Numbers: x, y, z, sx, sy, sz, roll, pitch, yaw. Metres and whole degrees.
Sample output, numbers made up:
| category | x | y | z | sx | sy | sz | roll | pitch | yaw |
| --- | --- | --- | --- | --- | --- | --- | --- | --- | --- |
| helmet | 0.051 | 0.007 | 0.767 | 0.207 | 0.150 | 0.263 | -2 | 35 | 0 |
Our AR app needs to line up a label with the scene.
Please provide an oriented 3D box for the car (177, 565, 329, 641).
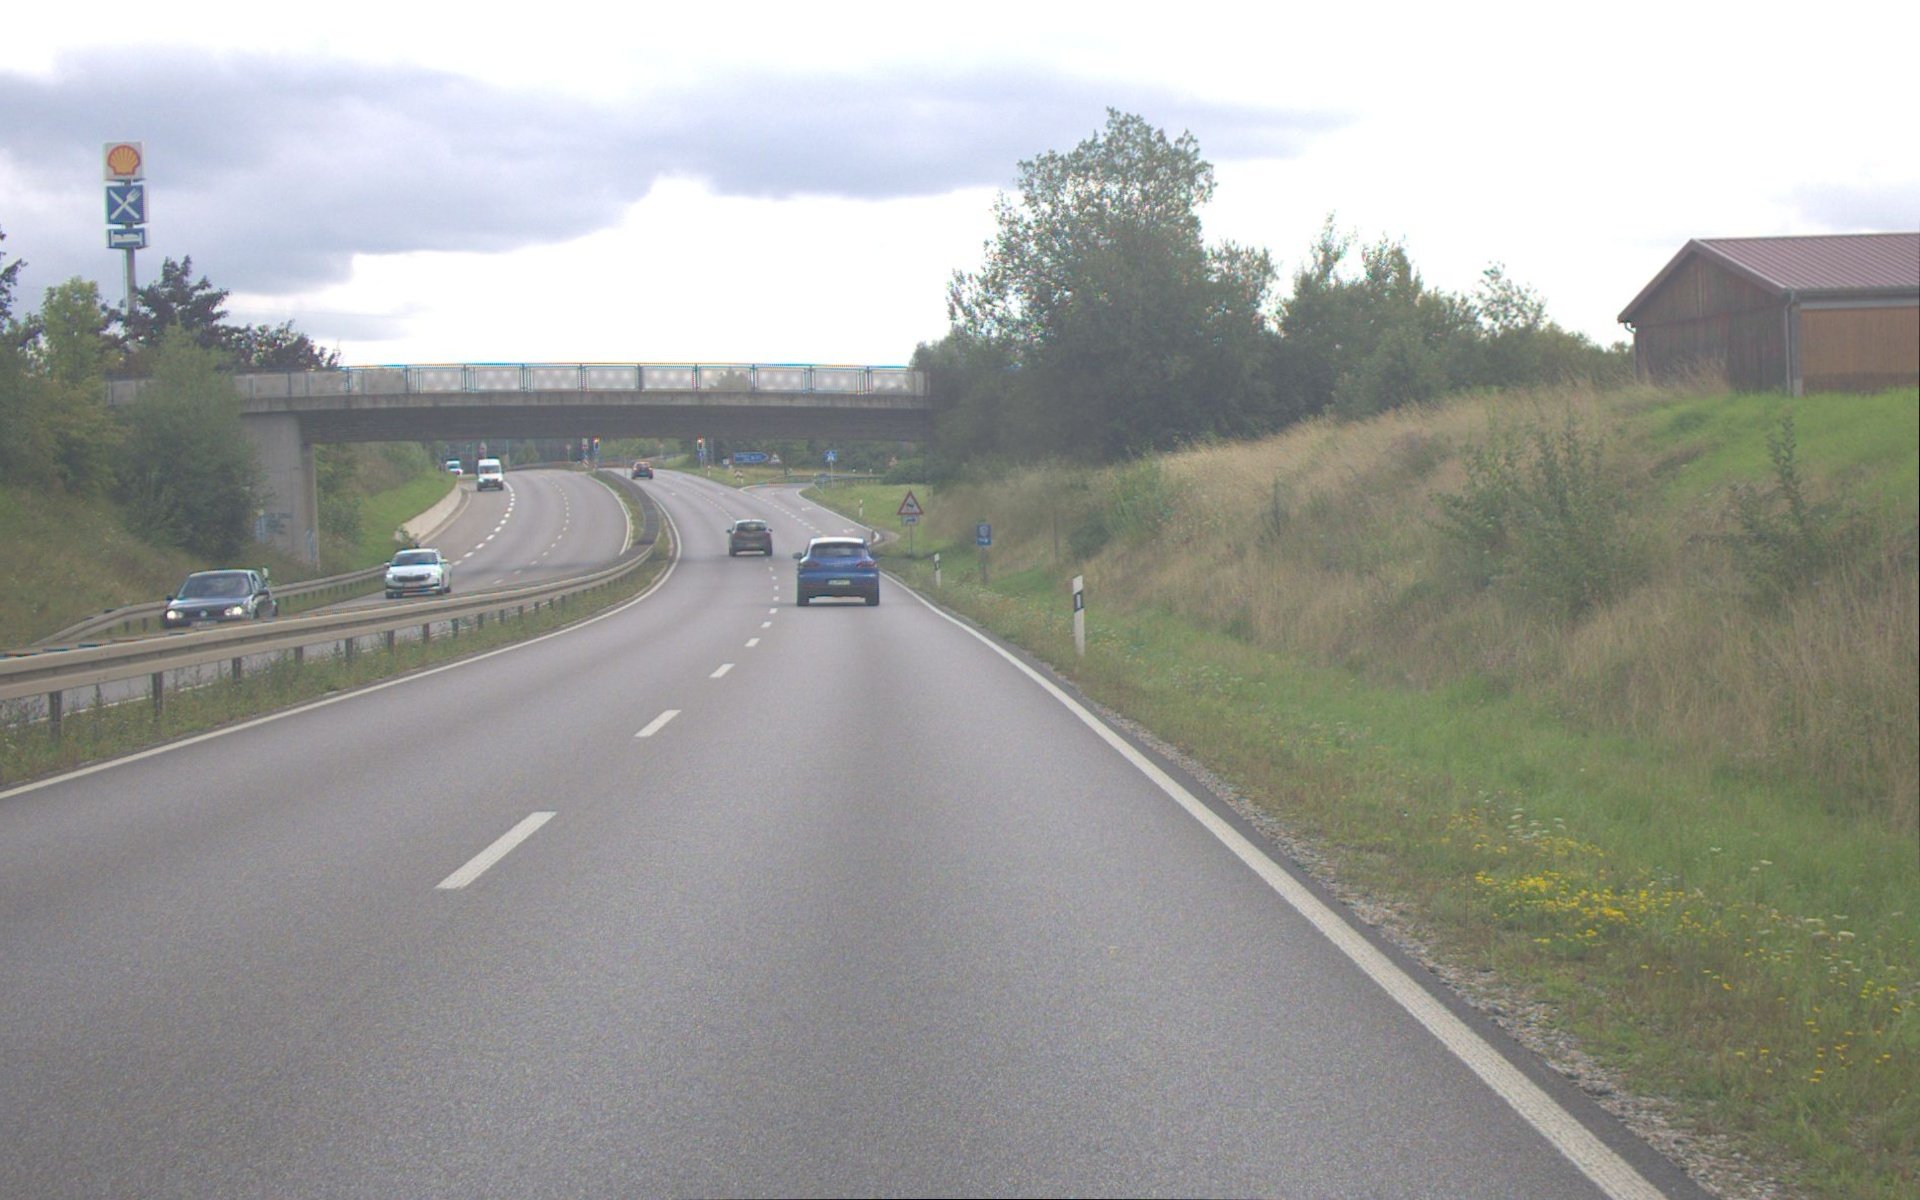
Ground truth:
| category | x | y | z | sx | sy | sz | roll | pitch | yaw |
| --- | --- | --- | --- | --- | --- | --- | --- | --- | --- |
| car | -13.634 | 0.026 | 66.536 | 1.993 | 1.300 | 4.822 | -2 | 1 | -1 |

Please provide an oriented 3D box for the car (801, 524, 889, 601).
| category | x | y | z | sx | sy | sz | roll | pitch | yaw |
| --- | --- | --- | --- | --- | --- | --- | --- | --- | --- |
| car | -2.743 | -0.917 | 81.797 | 2.033 | 1.654 | 4.544 | 0 | 2 | -2 |

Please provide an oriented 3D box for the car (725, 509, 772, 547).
| category | x | y | z | sx | sy | sz | roll | pitch | yaw |
| --- | --- | --- | --- | --- | --- | --- | --- | --- | --- |
| car | -8.795 | -3.002 | 143.067 | 1.917 | 1.448 | 4.365 | -2 | 2 | -3 |

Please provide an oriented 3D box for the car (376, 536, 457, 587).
| category | x | y | z | sx | sy | sz | roll | pitch | yaw |
| --- | --- | --- | --- | --- | --- | --- | --- | --- | --- |
| car | -17.046 | -1.228 | 107.997 | 1.993 | 1.448 | 4.001 | -2 | 2 | -2 |
